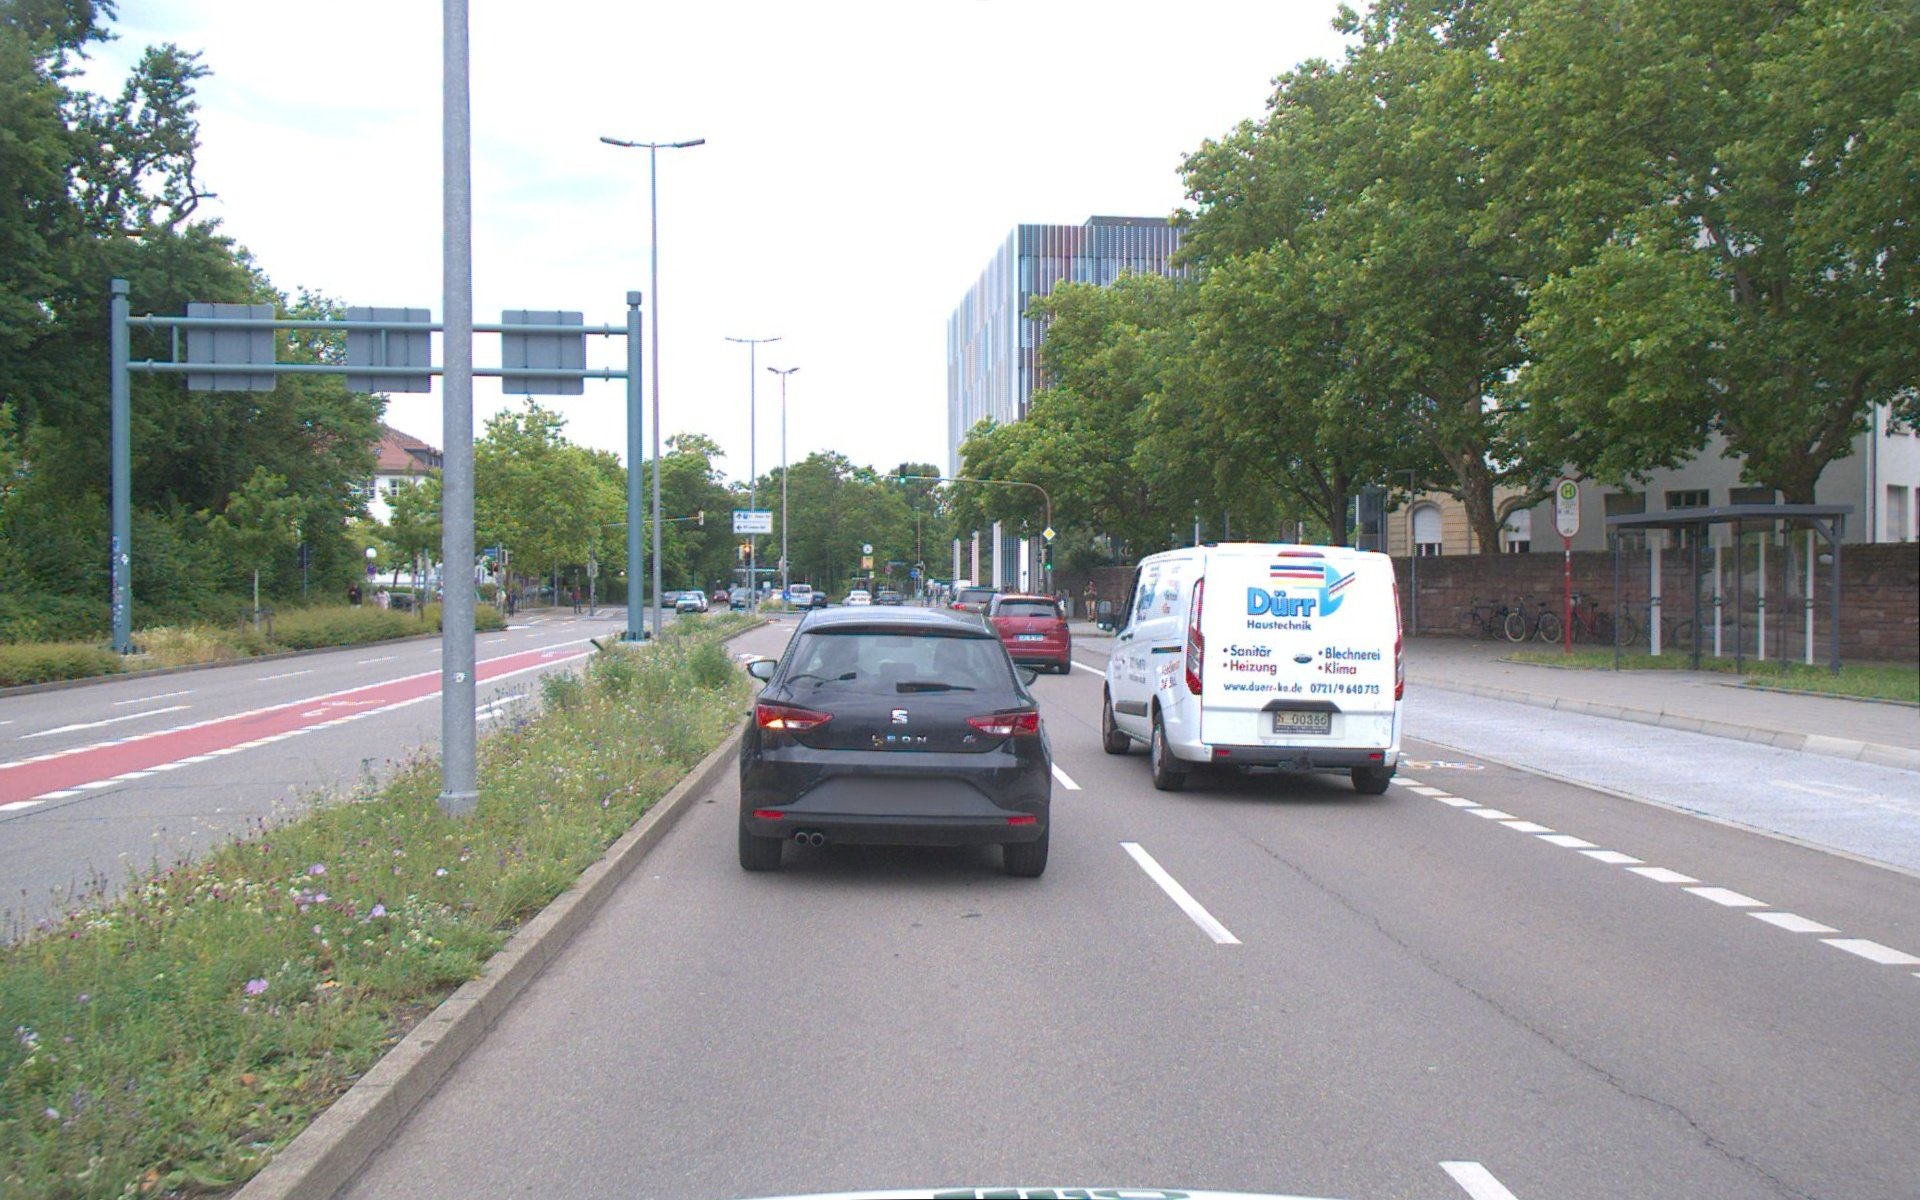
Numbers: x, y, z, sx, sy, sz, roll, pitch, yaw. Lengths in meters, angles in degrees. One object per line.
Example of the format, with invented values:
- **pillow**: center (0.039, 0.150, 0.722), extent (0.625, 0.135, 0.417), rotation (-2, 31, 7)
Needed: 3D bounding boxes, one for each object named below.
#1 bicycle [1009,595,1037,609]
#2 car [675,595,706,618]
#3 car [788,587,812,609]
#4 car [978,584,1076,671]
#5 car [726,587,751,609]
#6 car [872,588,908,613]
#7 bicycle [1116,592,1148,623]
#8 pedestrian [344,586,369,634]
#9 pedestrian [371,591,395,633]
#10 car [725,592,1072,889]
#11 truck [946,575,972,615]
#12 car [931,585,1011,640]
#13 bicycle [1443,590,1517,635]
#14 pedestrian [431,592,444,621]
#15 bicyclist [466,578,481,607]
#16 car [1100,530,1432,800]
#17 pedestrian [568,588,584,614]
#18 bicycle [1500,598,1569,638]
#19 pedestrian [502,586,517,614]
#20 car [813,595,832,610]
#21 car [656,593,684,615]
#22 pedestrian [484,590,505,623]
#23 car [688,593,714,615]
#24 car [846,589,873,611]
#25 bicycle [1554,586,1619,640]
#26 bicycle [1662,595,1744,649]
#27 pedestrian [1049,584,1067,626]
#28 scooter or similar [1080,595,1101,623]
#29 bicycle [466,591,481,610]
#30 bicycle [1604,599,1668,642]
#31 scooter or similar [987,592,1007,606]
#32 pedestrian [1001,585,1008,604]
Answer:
- **bicycle**: center (4.362, 0.122, 114.797), extent (1.862, 0.914, 0.692), rotation (-2, 1, -25)
- **car**: center (-17.792, 0.418, 109.191), extent (1.576, 1.405, 3.806), rotation (-2, 1, -3)
- **car**: center (-11.893, -0.166, 123.075), extent (1.663, 1.530, 4.004), rotation (-2, 1, -7)
- **car**: center (1.356, 0.530, 34.543), extent (1.909, 1.652, 3.750), rotation (1, 1, 1)
- **car**: center (-16.046, -0.110, 119.699), extent (1.731, 1.486, 4.782), rotation (-2, 0, -8)
- **car**: center (-4.265, 0.013, 100.497), extent (1.863, 1.377, 3.877), rotation (-2, 1, -7)
- **bicycle**: center (7.036, 0.287, 67.804), extent (0.788, 1.194, 1.951), rotation (-3, 1, -8)
- **pedestrian**: center (-22.568, 0.367, 61.892), extent (0.608, 1.759, 0.818), rotation (-2, 1, -4)
- **pedestrian**: center (-23.458, 0.499, 67.262), extent (0.686, 1.664, 0.671), rotation (-2, 1, -4)
- **car**: center (-0.292, 0.708, 10.178), extent (1.717, 1.457, 3.769), rotation (1, 0, 0)
- **truck**: center (-0.076, -0.336, 98.266), extent (1.291, 2.282, 3.399), rotation (-2, 1, -4)
- **car**: center (0.321, 0.370, 54.727), extent (1.880, 1.693, 4.104), rotation (-2, 1, -10)
- **bicycle**: center (13.555, 0.319, 43.148), extent (0.711, 1.119, 1.772), rotation (-2, 1, -32)
- **pedestrian**: center (-28.998, 0.353, 91.821), extent (0.563, 1.553, 0.841), rotation (0, -4, -27)
- **bicyclist**: center (-27.632, -0.428, 93.923), extent (0.657, 1.664, 0.955), rotation (1, -1, -22)
- **car**: center (2.517, 0.480, 14.740), extent (1.927, 2.007, 4.341), rotation (1, 0, -3)
- **pedestrian**: center (-23.962, 0.062, 103.164), extent (0.858, 1.614, 0.542), rotation (-2, 1, -10)
- **bicycle**: center (14.320, 0.439, 41.262), extent (0.644, 0.968, 1.759), rotation (-2, 1, -21)
- **pedestrian**: center (-25.799, 0.010, 94.700), extent (0.778, 1.585, 0.694), rotation (0, -3, -24)
- **car**: center (-11.547, 0.212, 138.814), extent (1.476, 1.214, 3.158), rotation (-2, 1, -7)
- **car**: center (-25.094, 0.347, 143.199), extent (1.869, 1.747, 3.998), rotation (-2, 1, -3)
- **pedestrian**: center (-26.076, 0.379, 92.573), extent (0.835, 1.770, 0.818), rotation (1, -5, -42)
- **car**: center (-18.226, 0.258, 116.459), extent (1.674, 1.456, 4.217), rotation (-2, 1, -10)
- **car**: center (-6.894, -0.009, 113.641), extent (1.585, 1.377, 3.994), rotation (-2, 1, -7)
- **bicycle**: center (14.975, 0.303, 39.569), extent (0.492, 1.242, 1.617), rotation (-2, 1, -21)
- **bicycle**: center (16.053, 0.469, 35.751), extent (0.588, 1.123, 1.643), rotation (-2, 1, -23)
- **pedestrian**: center (4.195, 0.222, 70.727), extent (0.453, 1.769, 0.548), rotation (-2, 1, -42)
- **scooter or similar**: center (5.923, 0.415, 75.011), extent (0.423, 1.199, 1.704), rotation (-2, 1, 21)
- **bicycle**: center (-27.642, 0.029, 93.916), extent (0.657, 1.081, 1.608), rotation (1, -1, -22)
- **bicycle**: center (15.543, 0.468, 38.064), extent (0.410, 0.959, 1.516), rotation (-2, 1, -21)
- **scooter or similar**: center (3.076, -0.067, 136.862), extent (1.657, 1.126, 0.492), rotation (-2, 1, -35)
- **pedestrian**: center (3.396, -0.428, 127.246), extent (0.462, 1.385, 0.446), rotation (-2, 1, 7)
